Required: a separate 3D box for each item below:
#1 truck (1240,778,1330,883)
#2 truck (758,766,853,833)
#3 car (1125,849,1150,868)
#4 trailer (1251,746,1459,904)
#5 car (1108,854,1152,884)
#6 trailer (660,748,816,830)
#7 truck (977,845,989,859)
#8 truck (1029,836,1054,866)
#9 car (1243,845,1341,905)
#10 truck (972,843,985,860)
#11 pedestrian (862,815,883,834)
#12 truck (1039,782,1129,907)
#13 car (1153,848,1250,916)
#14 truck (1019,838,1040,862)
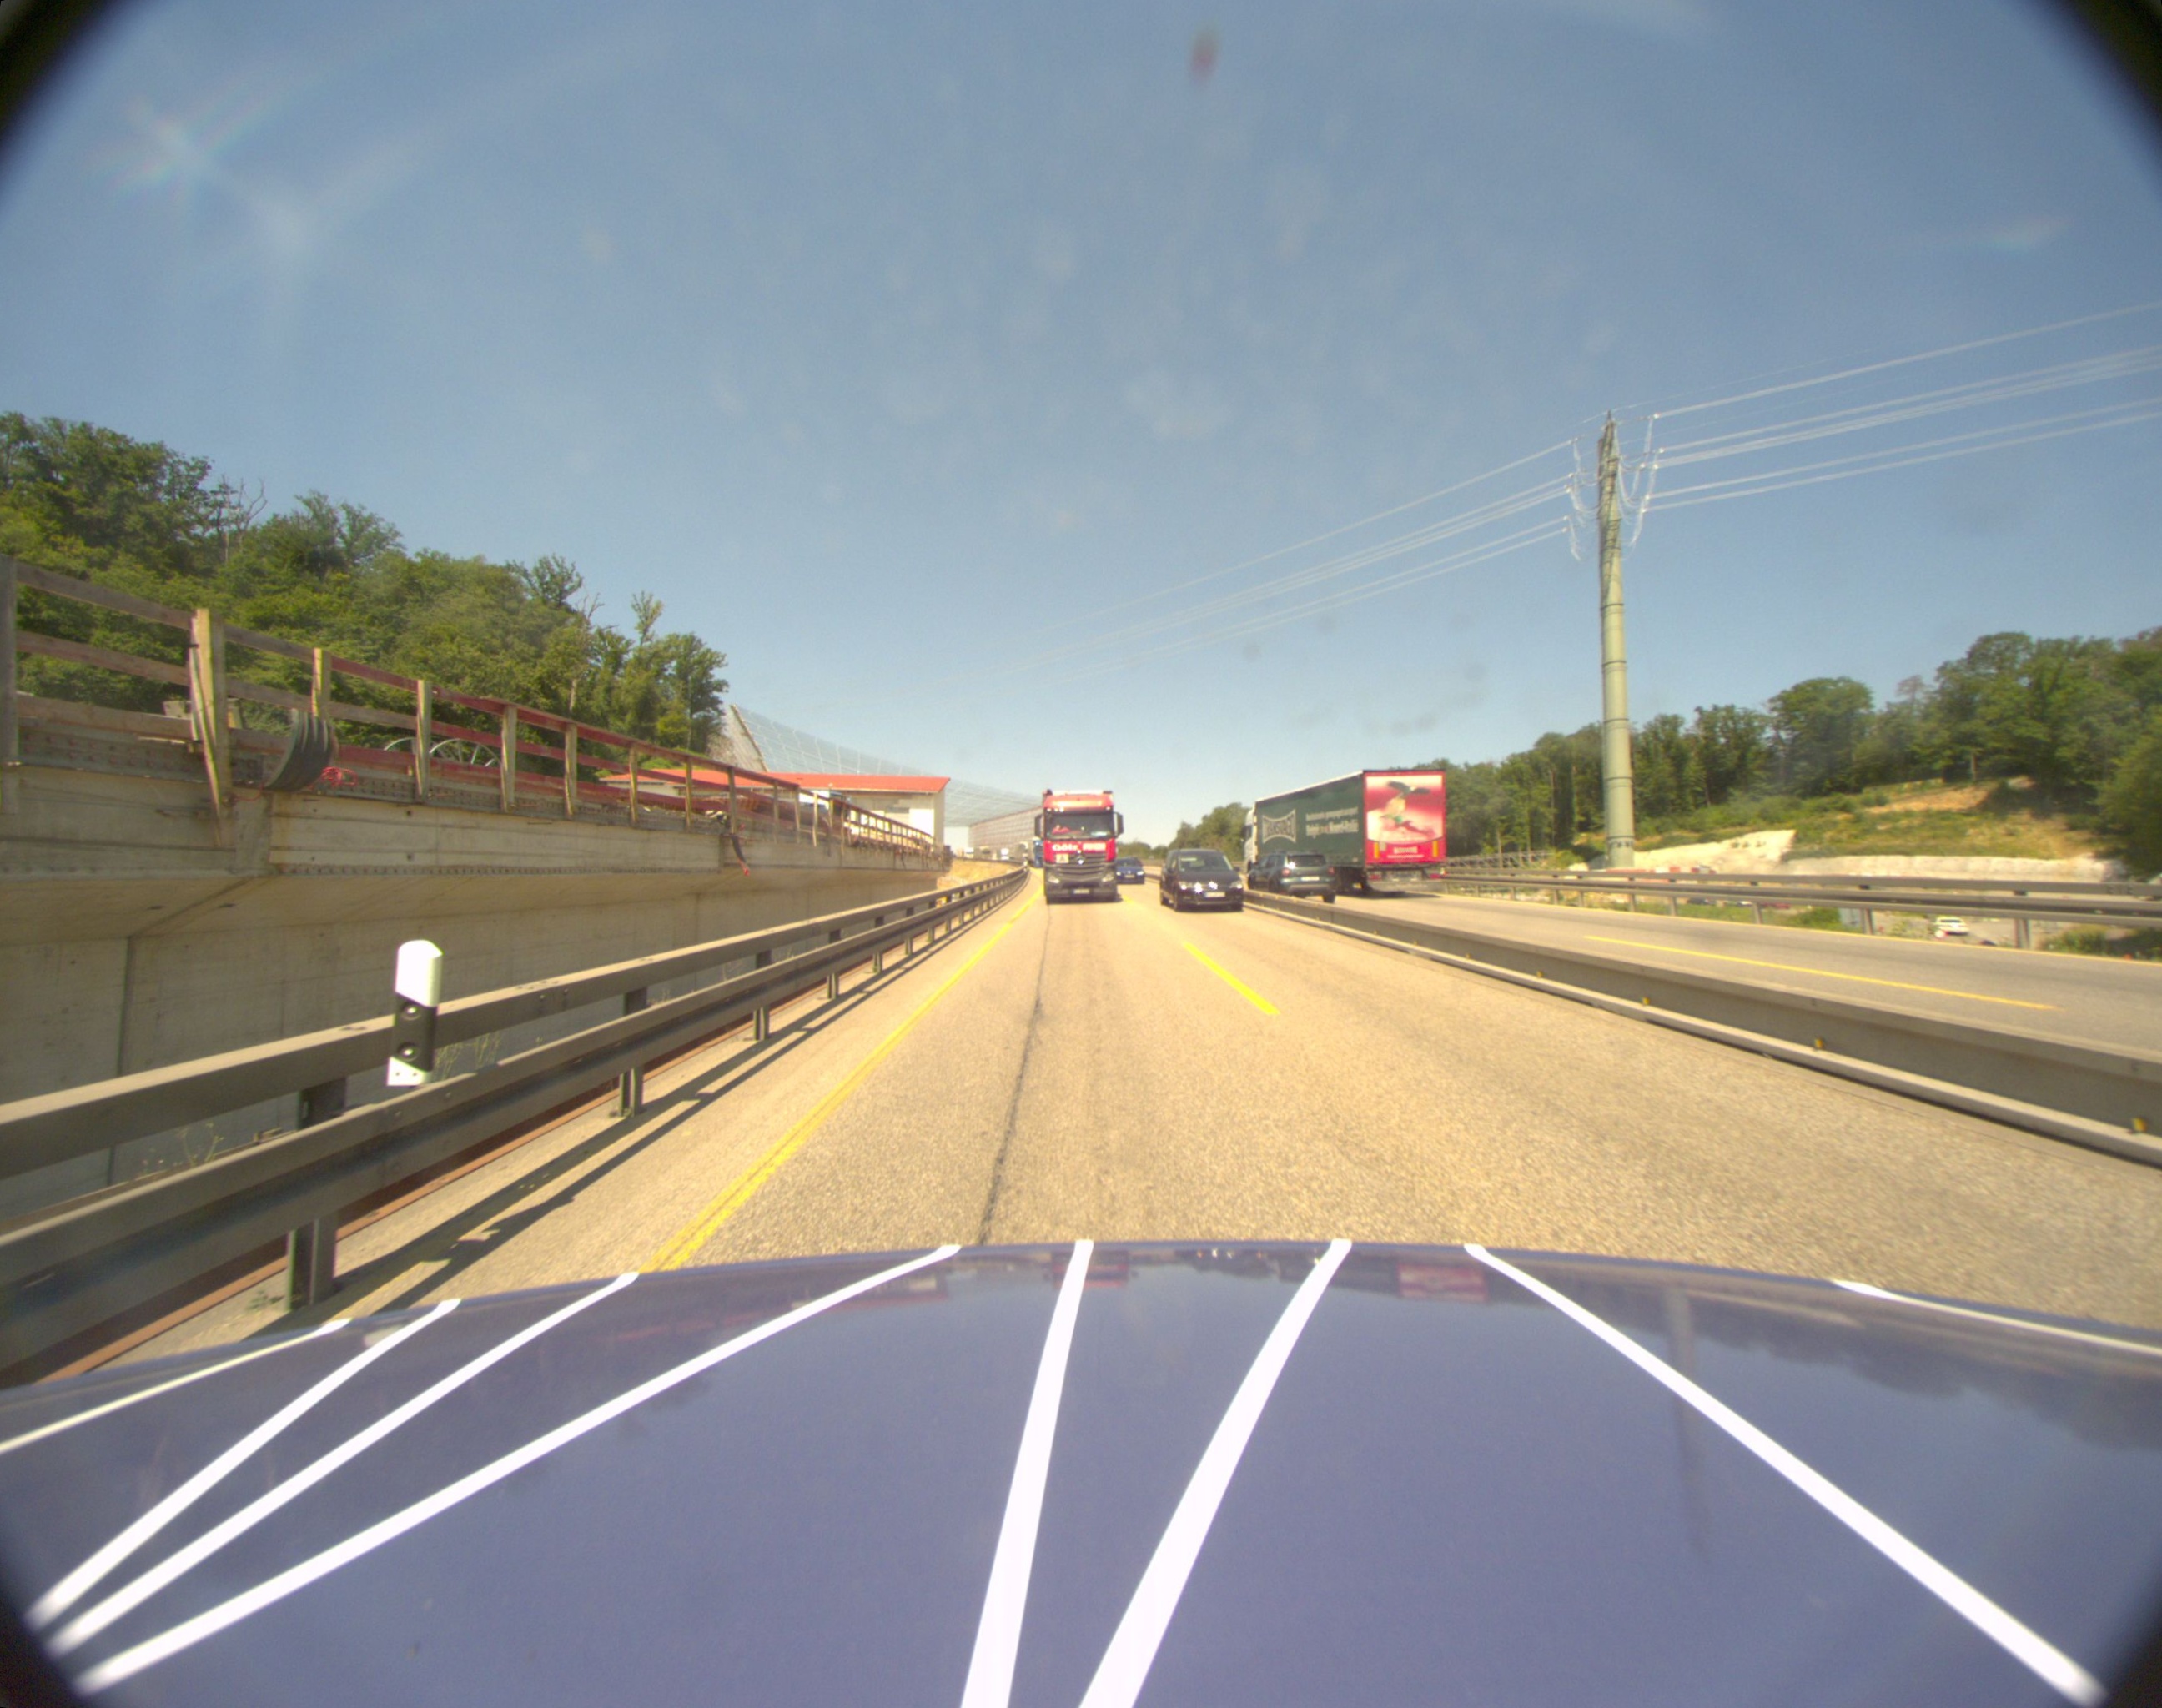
[{"bbox_3d":[9.930,-1.086,37.499,3.069,4.793,4.645,-1,0,-1],"label":"truck"},{"bbox_3d":[-17.789,-3.423,49.451,2.713,3.672,5.721,-1,-2,21],"label":"truck"},{"bbox_3d":[5.231,0.422,70.936,1.998,1.630,4.852,-2,1,0],"label":"car"},{"bbox_3d":[10.015,-1.015,30.402,3.072,4.788,13.998,-2,1,-1],"label":"trailer"},{"bbox_3d":[2.704,0.833,43.069,1.896,1.546,4.785,-1,0,-3],"label":"car"},{"bbox_3d":[-19.671,-3.545,44.421,2.713,3.671,9.012,-1,-2,21],"label":"trailer"},{"bbox_3d":[-29.662,-0.551,230.534,3.044,4.033,8.666,-2,1,-10],"label":"truck"},{"bbox_3d":[-5.714,-0.469,109.279,2.673,3.986,10.421,-2,1,-7],"label":"truck"},{"bbox_3d":[6.435,0.598,23.663,1.962,1.671,4.114,-1,0,1],"label":"car"},{"bbox_3d":[-29.408,-0.833,217.950,3.044,4.778,8.933,-2,1,-10],"label":"truck"},{"bbox_3d":[-13.443,-1.886,49.033,1.022,1.144,0.994,-2,1,3],"label":"pedestrian"},{"bbox_3d":[-0.072,-0.397,29.795,2.799,3.986,10.425,-2,1,-2],"label":"truck"},{"bbox_3d":[3.346,0.740,22.139,1.861,1.695,5.303,-1,0,-1],"label":"car"},{"bbox_3d":[-9.562,-0.694,140.712,2.912,4.208,9.232,-2,1,-9],"label":"truck"}]
